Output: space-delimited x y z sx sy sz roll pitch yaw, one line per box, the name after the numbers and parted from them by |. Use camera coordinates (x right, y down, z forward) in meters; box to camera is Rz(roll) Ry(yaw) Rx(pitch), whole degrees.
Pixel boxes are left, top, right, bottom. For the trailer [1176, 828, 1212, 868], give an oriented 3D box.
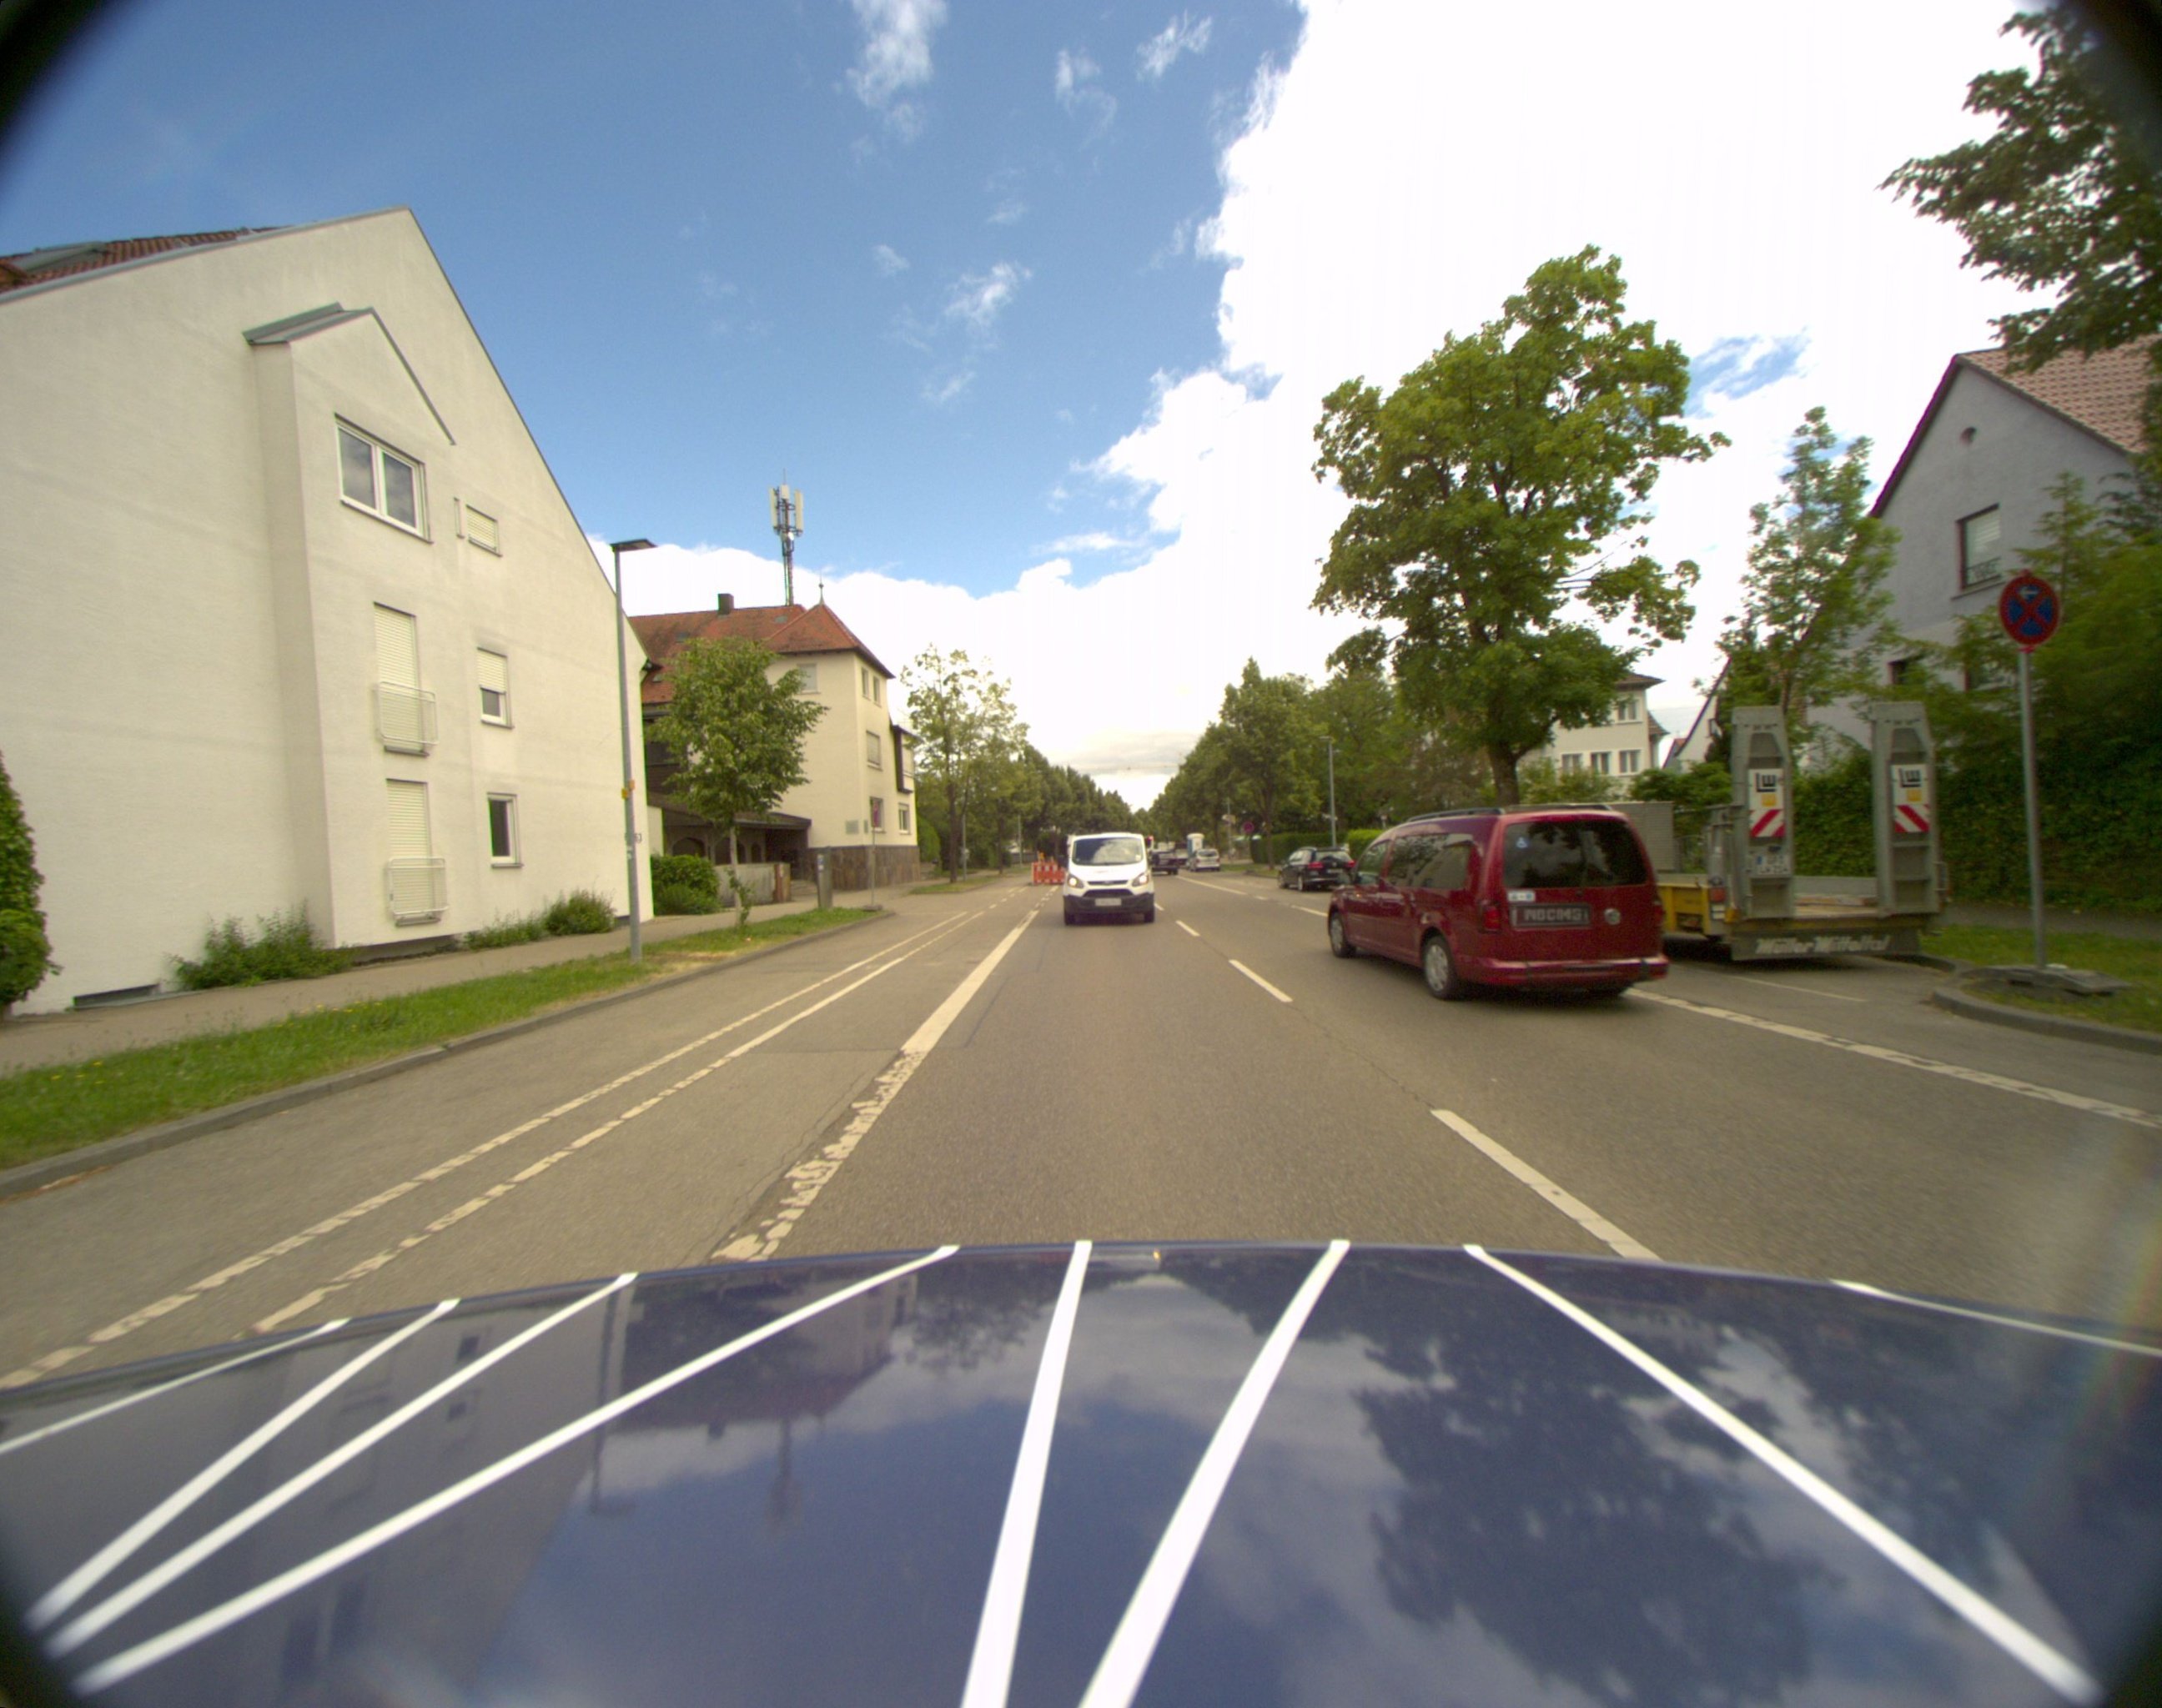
8.800 -0.475 59.936 2.377 2.946 7.012 -2 1 6 | trailer

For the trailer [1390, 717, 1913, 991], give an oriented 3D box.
7.865 -0.059 12.168 2.680 2.924 7.473 -3 1 0 | trailer

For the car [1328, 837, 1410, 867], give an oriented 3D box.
16.598 -0.109 43.899 4.087 1.424 1.802 -4 0 9 | car

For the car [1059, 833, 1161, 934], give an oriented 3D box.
0.729 0.575 18.205 1.998 2.002 5.319 -2 1 3 | car

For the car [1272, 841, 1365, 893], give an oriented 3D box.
8.279 0.383 26.931 1.865 1.544 4.618 -3 2 1 | car

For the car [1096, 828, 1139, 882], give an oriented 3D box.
1.897 0.035 39.467 1.998 2.584 4.000 -3 0 3 | car

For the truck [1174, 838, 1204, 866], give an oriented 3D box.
9.379 -0.183 66.647 2.300 2.274 6.465 -2 1 6 | truck

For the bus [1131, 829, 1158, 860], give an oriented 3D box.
7.599 -1.165 89.468 2.810 3.269 18.049 0 1 6 | bus

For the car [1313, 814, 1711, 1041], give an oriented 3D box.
4.231 0.585 8.555 1.764 1.793 4.768 -2 0 0 | car

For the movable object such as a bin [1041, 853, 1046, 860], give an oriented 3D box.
-5.621 0.350 114.551 0.540 1.052 0.519 -2 1 20 | movable object such as a bin

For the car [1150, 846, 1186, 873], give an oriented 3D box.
5.580 0.306 49.278 1.998 1.658 4.589 -1 1 2 | car

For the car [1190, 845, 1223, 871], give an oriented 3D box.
8.757 0.239 53.327 1.693 1.674 4.225 -2 1 2 | car
